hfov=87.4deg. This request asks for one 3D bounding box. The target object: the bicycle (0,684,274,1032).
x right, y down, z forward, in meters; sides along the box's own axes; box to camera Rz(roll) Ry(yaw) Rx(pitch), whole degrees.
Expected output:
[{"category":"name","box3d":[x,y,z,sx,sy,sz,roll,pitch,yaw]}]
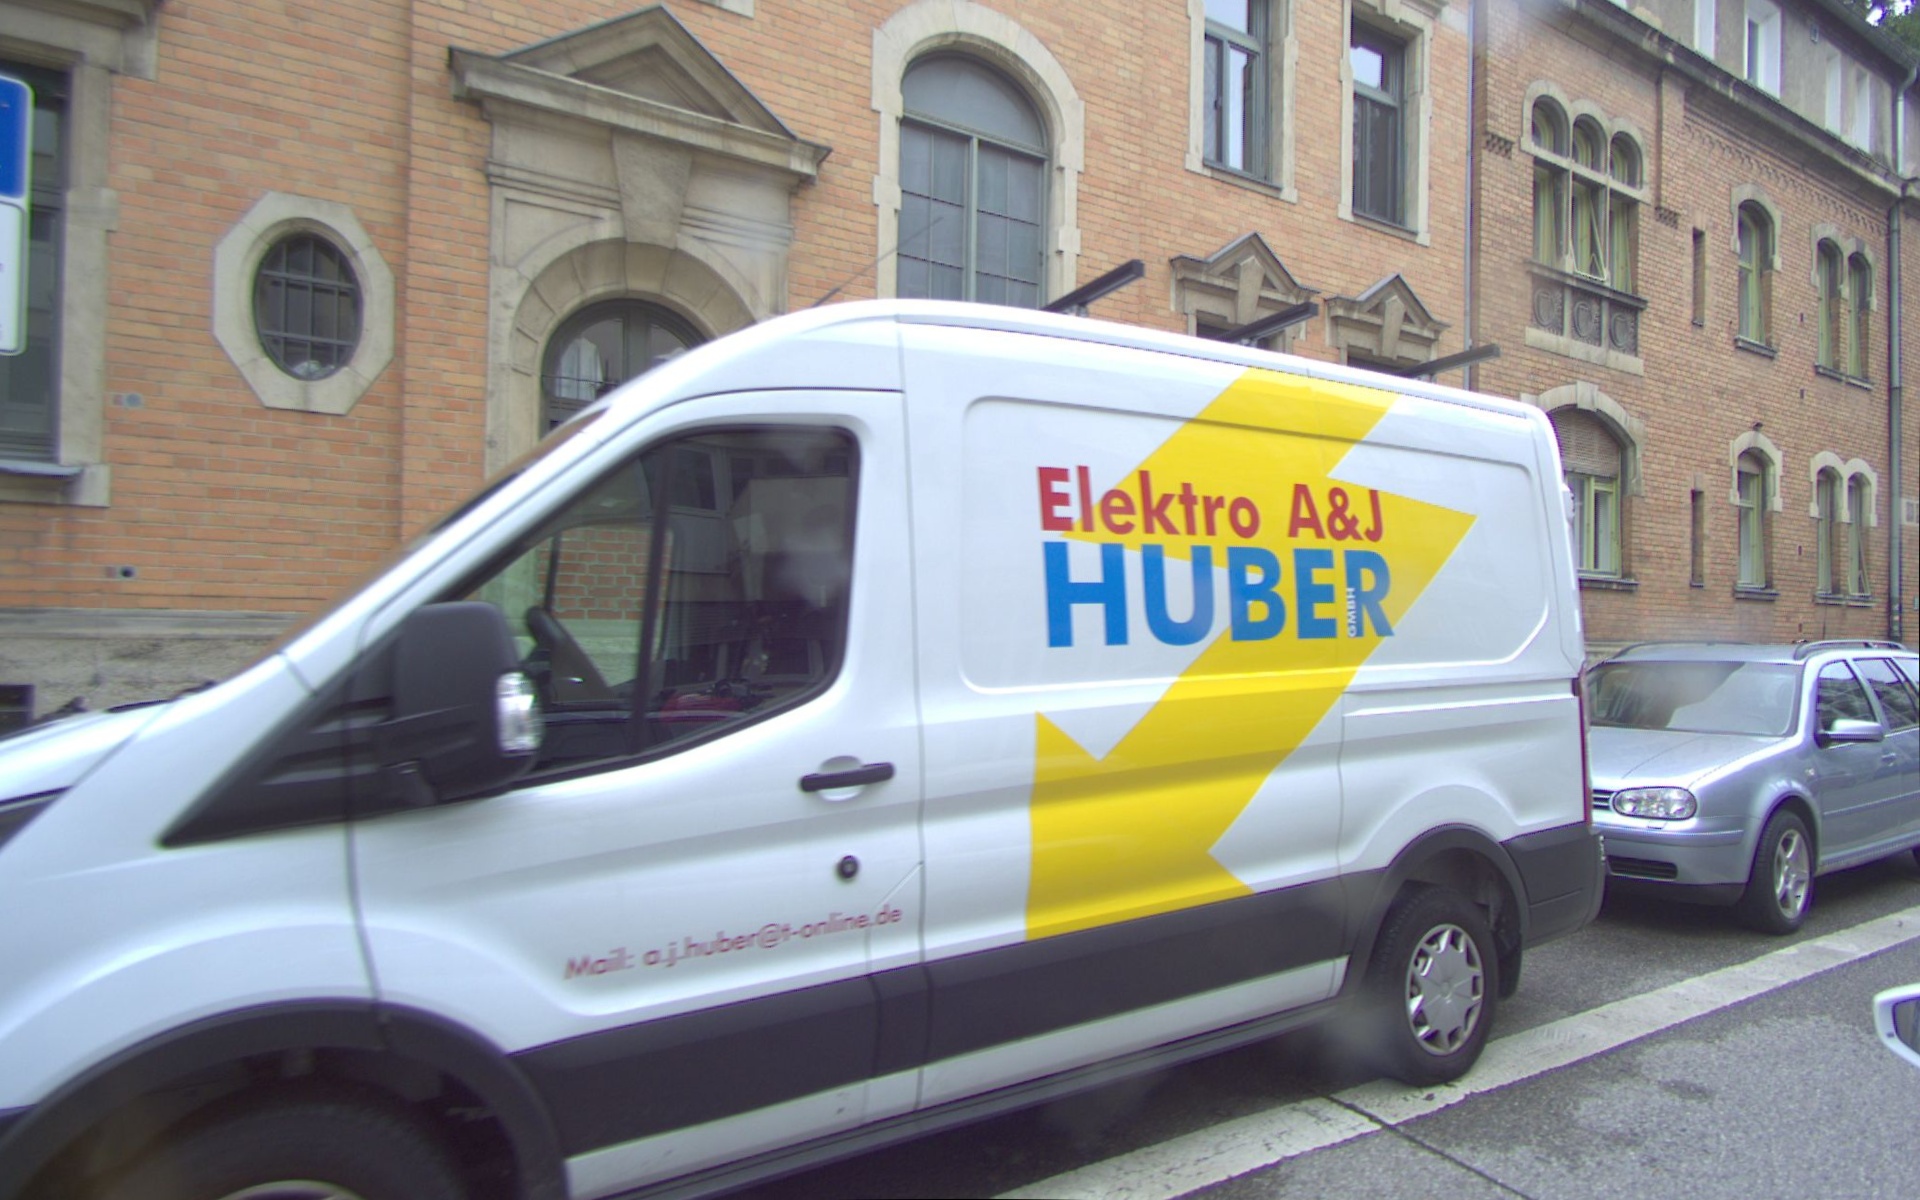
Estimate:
[{"category":"bicycle","box3d":[-3.472,0.839,3.335,1.869,1.068,0.578,2,-1,-26]}]

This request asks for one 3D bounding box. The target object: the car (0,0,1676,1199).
[{"category":"car","box3d":[-0.075,0.310,3.436,5.406,2.500,1.984,2,-3,-30]}]

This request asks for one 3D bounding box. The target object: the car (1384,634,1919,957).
[{"category":"car","box3d":[4.709,0.992,6.337,3.949,1.473,1.682,2,-4,-30]}]

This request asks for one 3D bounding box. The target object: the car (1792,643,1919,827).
[{"category":"car","box3d":[9.260,1.133,8.857,3.783,1.450,1.691,2,-3,-29]}]
